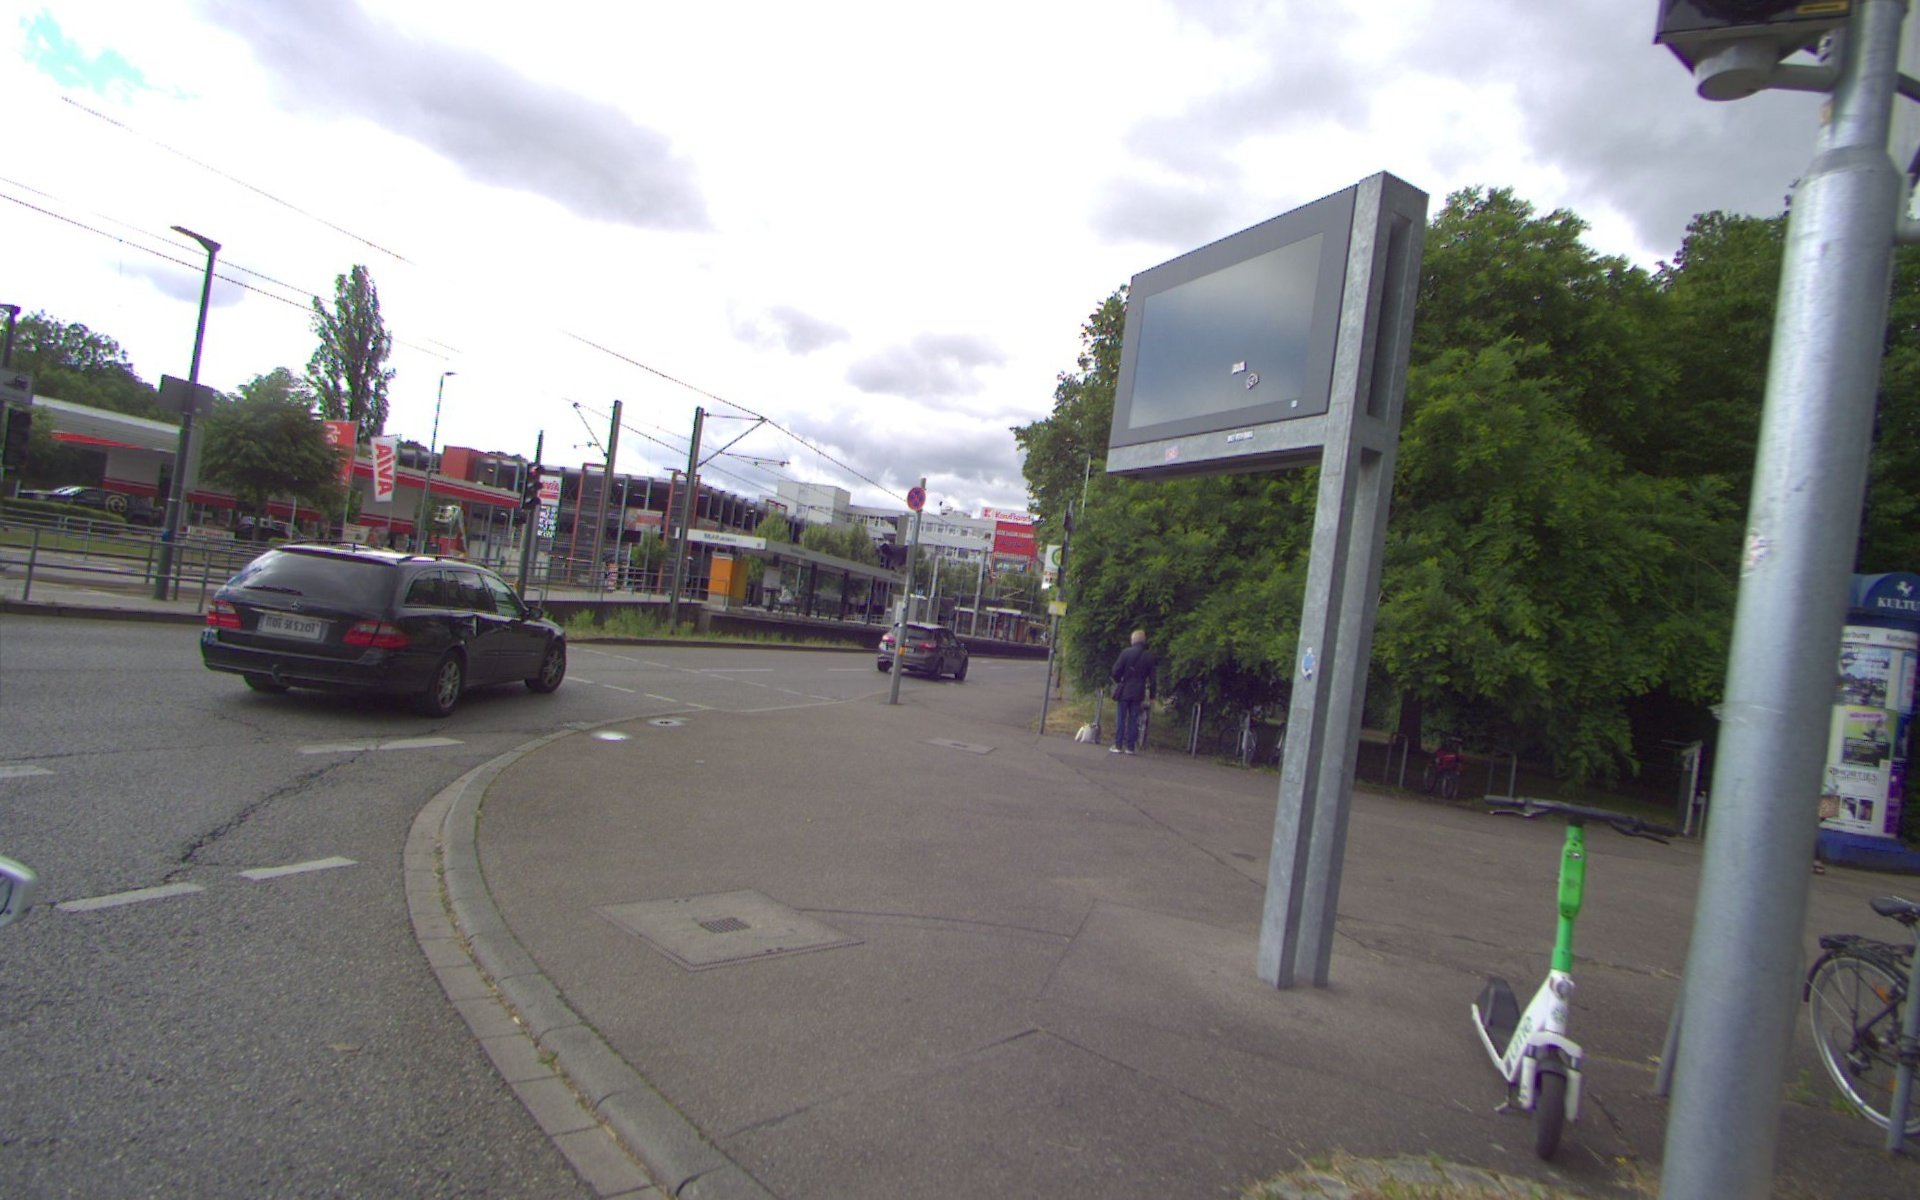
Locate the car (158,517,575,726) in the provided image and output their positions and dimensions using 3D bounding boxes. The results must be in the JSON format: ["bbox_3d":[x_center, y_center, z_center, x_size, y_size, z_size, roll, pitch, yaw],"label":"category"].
[{"bbox_3d":[-5.743,0.228,10.530,1.806,1.495,4.415,8,-1,-4],"label":"car"}]

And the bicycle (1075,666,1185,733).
[{"bbox_3d":[3.133,1.816,18.549,1.837,0.936,0.545,7,1,17],"label":"bicycle"}]

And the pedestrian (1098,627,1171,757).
[{"bbox_3d":[2.524,1.327,14.585,0.679,1.774,0.419,9,-1,-11],"label":"pedestrian"}]

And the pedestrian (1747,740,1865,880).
[{"bbox_3d":[10.496,2.584,12.506,0.741,1.531,0.672,7,-1,7],"label":"pedestrian"}]

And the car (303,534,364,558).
[{"bbox_3d":[-52.205,-4.488,83.924,1.879,1.381,4.064,6,-2,15],"label":"car"}]

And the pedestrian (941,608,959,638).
[{"bbox_3d":[-0.616,1.465,62.903,0.737,1.764,0.938,6,-1,16],"label":"pedestrian"}]

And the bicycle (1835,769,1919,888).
[{"bbox_3d":[13.202,3.194,14.007,0.634,1.388,1.659,9,-1,11],"label":"bicycle"}]

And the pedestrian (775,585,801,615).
[{"bbox_3d":[-7.789,-0.010,45.592,0.757,1.203,0.728,7,-1,20],"label":"pedestrian"}]

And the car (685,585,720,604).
[{"bbox_3d":[-27.490,-0.607,107.487,1.749,1.557,4.004,6,-2,16],"label":"car"}]

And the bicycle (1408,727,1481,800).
[{"bbox_3d":[7.454,2.491,15.534,0.469,0.866,1.740,9,-1,11],"label":"bicycle"}]

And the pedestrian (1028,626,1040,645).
[{"bbox_3d":[6.855,3.282,92.801,0.759,1.697,0.791,6,-1,16],"label":"pedestrian"}]

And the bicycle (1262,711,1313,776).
[{"bbox_3d":[5.142,2.245,15.868,0.469,0.817,1.516,9,-1,11],"label":"bicycle"}]

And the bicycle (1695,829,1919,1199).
[{"bbox_3d":[3.658,1.586,3.805,0.596,1.057,1.703,8,-2,9],"label":"bicycle"}]

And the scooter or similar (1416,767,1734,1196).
[{"bbox_3d":[2.222,1.298,3.811,0.642,1.125,1.232,7,-1,19],"label":"scooter or similar"}]

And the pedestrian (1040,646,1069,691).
[{"bbox_3d":[2.590,1.874,27.559,0.591,1.172,0.547,6,-1,16],"label":"pedestrian"}]

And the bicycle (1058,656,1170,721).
[{"bbox_3d":[3.039,1.744,19.984,2.010,0.950,0.591,8,0,31],"label":"bicycle"}]

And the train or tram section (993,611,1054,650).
[{"bbox_3d":[7.897,3.865,121.253,2.713,3.929,18.639,7,-1,17],"label":"train or tram section"}]

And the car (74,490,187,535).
[{"bbox_3d":[-38.512,-4.039,46.806,1.588,1.365,3.639,8,-2,18],"label":"car"}]

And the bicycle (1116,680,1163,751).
[{"bbox_3d":[2.869,1.831,16.211,0.514,0.917,1.852,7,0,6],"label":"bicycle"}]

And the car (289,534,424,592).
[{"bbox_3d":[-21.030,-1.252,35.255,1.601,1.471,3.833,8,-2,17],"label":"car"}]

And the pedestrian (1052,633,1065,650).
[{"bbox_3d":[10.292,4.333,105.091,0.867,1.697,0.740,7,-1,-31],"label":"pedestrian"}]

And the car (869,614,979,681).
[{"bbox_3d":[-0.951,1.409,29.223,1.797,1.547,4.420,9,-1,15],"label":"car"}]

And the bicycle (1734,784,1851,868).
[{"bbox_3d":[12.115,3.264,14.699,0.469,0.866,1.659,9,-1,11],"label":"bicycle"}]

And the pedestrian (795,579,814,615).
[{"bbox_3d":[-7.643,-0.149,49.353,0.561,1.639,0.586,6,-1,16],"label":"pedestrian"}]
